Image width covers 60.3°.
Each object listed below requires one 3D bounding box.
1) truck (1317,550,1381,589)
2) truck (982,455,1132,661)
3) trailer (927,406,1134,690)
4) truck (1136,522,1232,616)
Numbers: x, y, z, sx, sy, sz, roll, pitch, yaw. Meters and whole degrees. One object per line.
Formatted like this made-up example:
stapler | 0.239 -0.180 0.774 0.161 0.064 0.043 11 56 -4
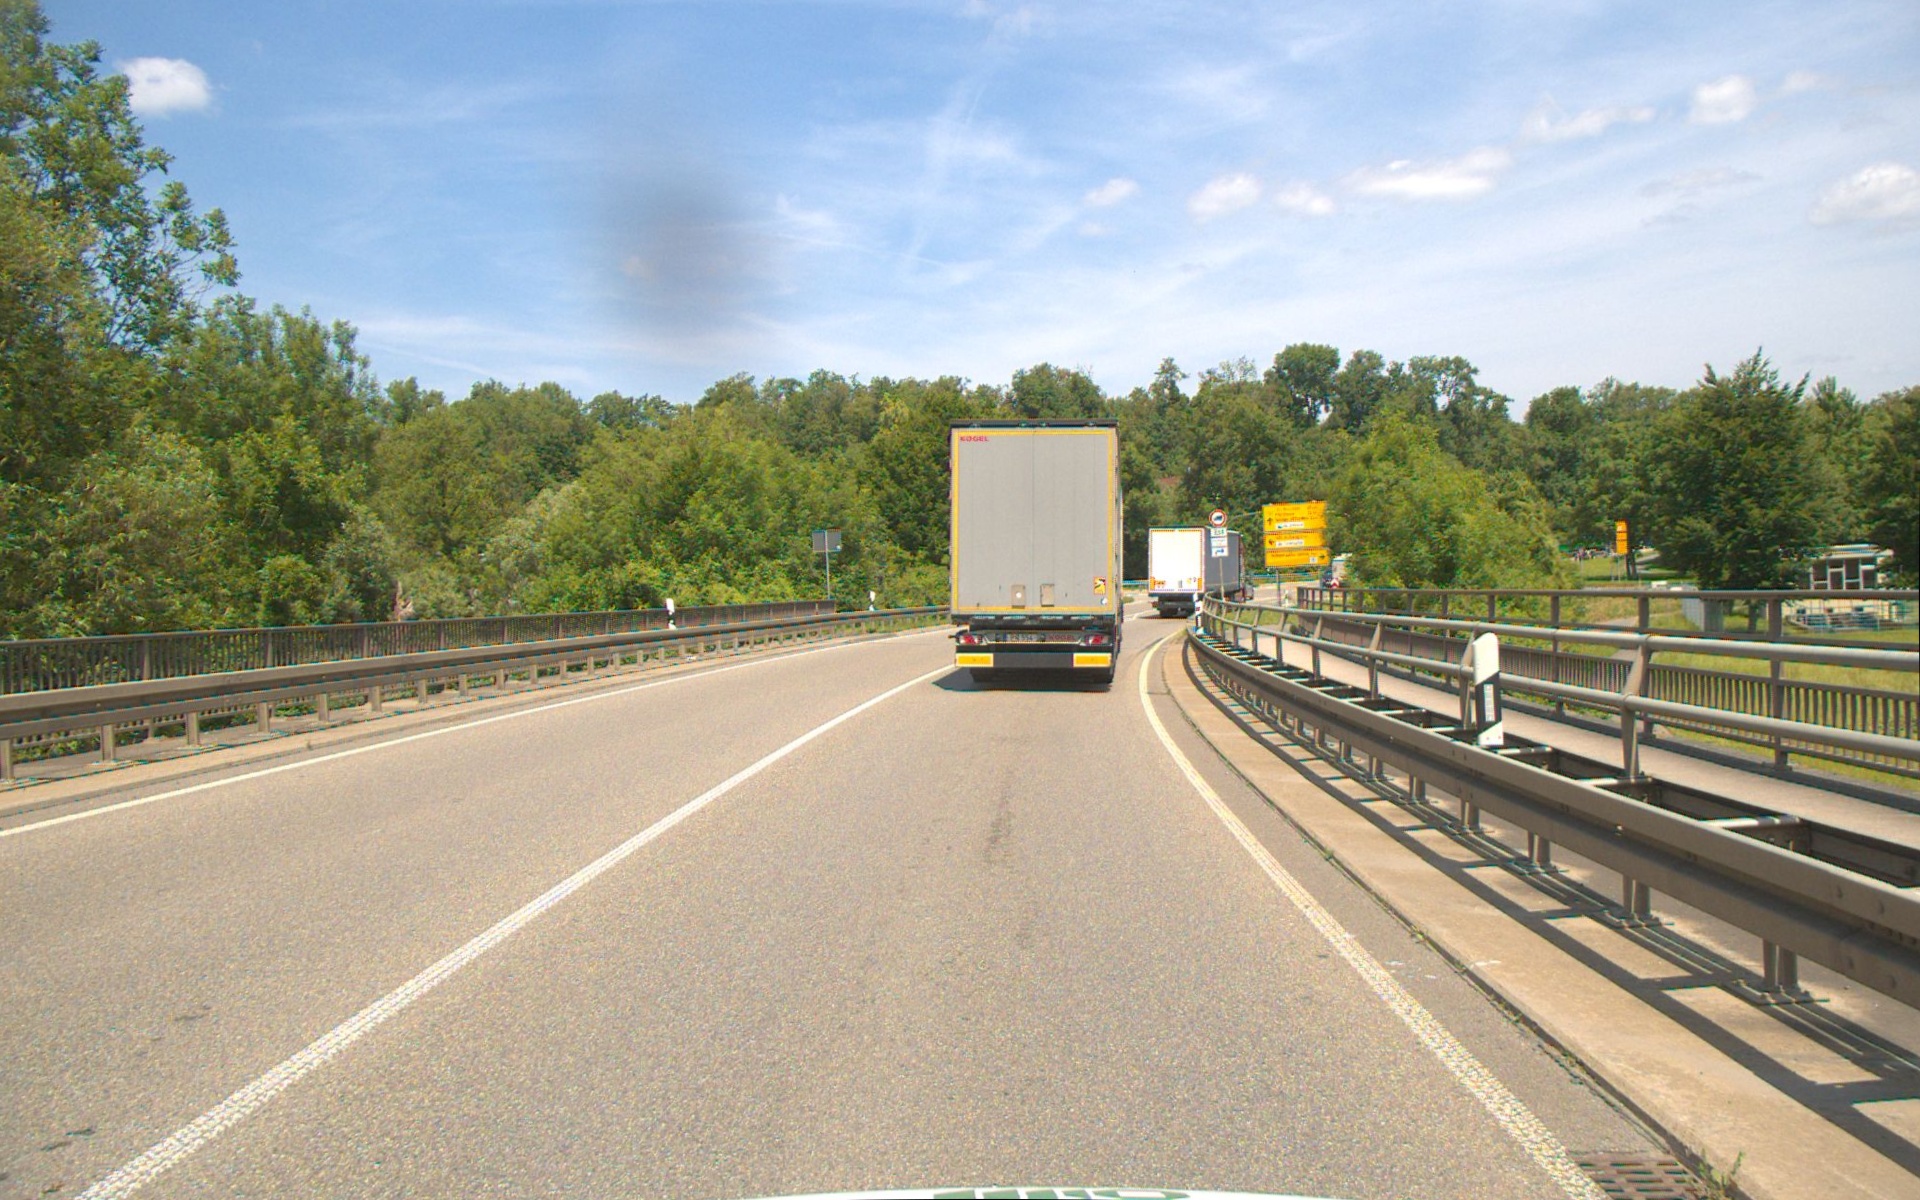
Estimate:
truck | 30.709 -2.433 130.431 2.804 2.999 7.087 0 1 32
truck | 2.276 -0.859 36.457 2.973 4.104 6.634 0 0 6
trailer | 1.645 -0.799 30.321 2.987 4.104 12.567 0 0 6
truck | 10.746 -1.378 78.289 3.111 4.099 11.754 0 0 15
